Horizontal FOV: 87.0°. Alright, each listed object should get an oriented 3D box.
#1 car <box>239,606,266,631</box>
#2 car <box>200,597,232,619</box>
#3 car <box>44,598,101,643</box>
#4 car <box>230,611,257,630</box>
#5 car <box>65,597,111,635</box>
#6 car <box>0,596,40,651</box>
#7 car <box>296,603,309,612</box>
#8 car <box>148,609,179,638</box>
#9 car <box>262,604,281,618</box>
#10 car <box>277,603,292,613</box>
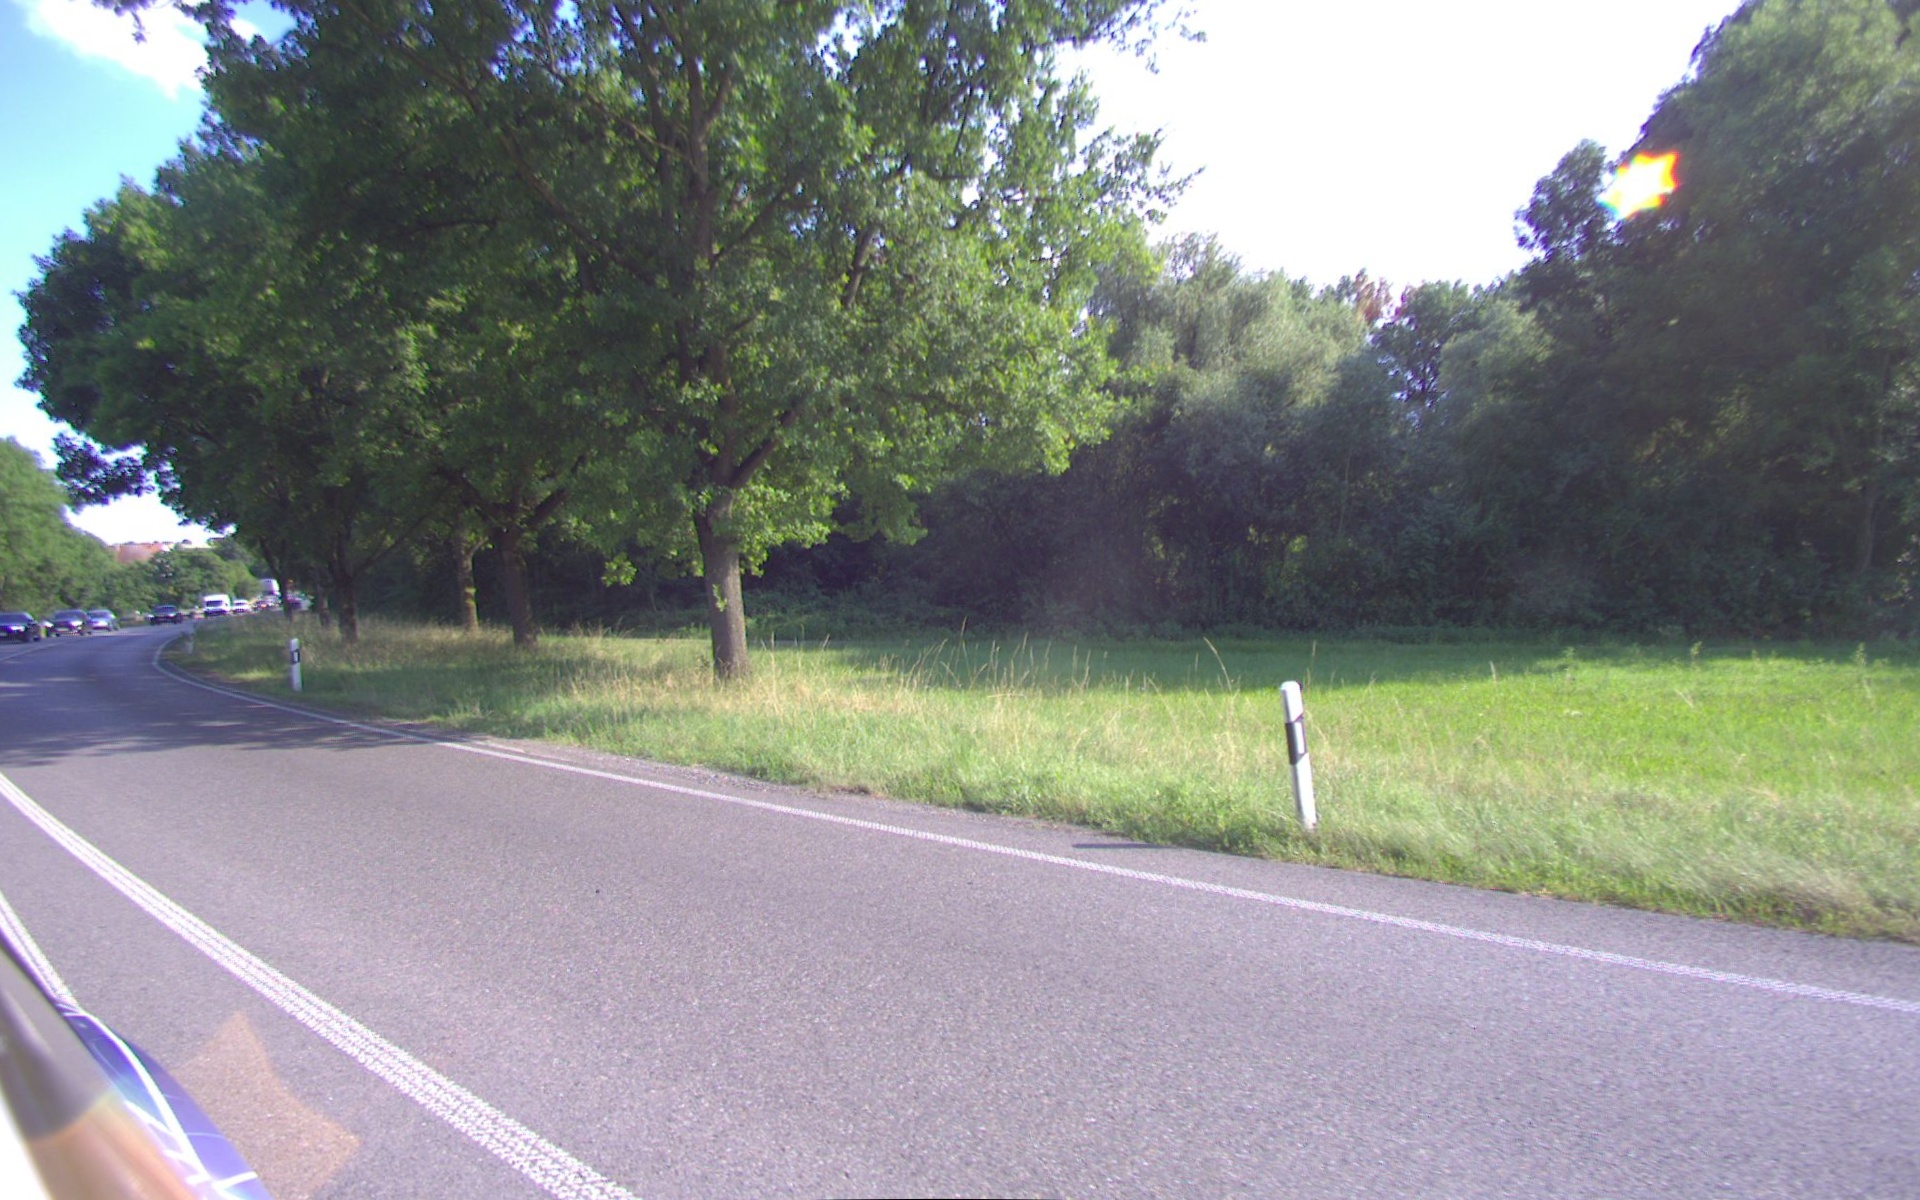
[{"bbox_3d":[-72.968,1.831,104.399,2.055,2.435,5.157,-1,1,-33],"label":"car"},{"bbox_3d":[-86.625,0.940,117.891,2.054,2.435,5.159,-1,1,-26],"label":"car"},{"bbox_3d":[-51.343,1.140,58.626,2.056,2.435,5.153,-1,1,-37],"label":"car"},{"bbox_3d":[-96.112,2.740,135.833,2.054,2.435,5.159,-1,1,-26],"label":"car"},{"bbox_3d":[-59.367,1.060,68.978,2.056,2.435,5.153,-1,1,-37],"label":"car"},{"bbox_3d":[-44.772,1.077,47.381,2.056,2.435,5.153,-1,1,-37],"label":"car"},{"bbox_3d":[-132.534,1.546,203.946,1.864,1.643,4.264,-1,1,-29],"label":"car"},{"bbox_3d":[-70.384,2.029,89.466,2.056,2.435,5.153,-1,1,-37],"label":"car"},{"bbox_3d":[-124.767,1.900,183.410,2.054,2.435,5.159,-1,1,-26],"label":"car"},{"bbox_3d":[-111.796,1.323,167.456,1.871,1.643,4.263,-1,1,-32],"label":"car"}]
